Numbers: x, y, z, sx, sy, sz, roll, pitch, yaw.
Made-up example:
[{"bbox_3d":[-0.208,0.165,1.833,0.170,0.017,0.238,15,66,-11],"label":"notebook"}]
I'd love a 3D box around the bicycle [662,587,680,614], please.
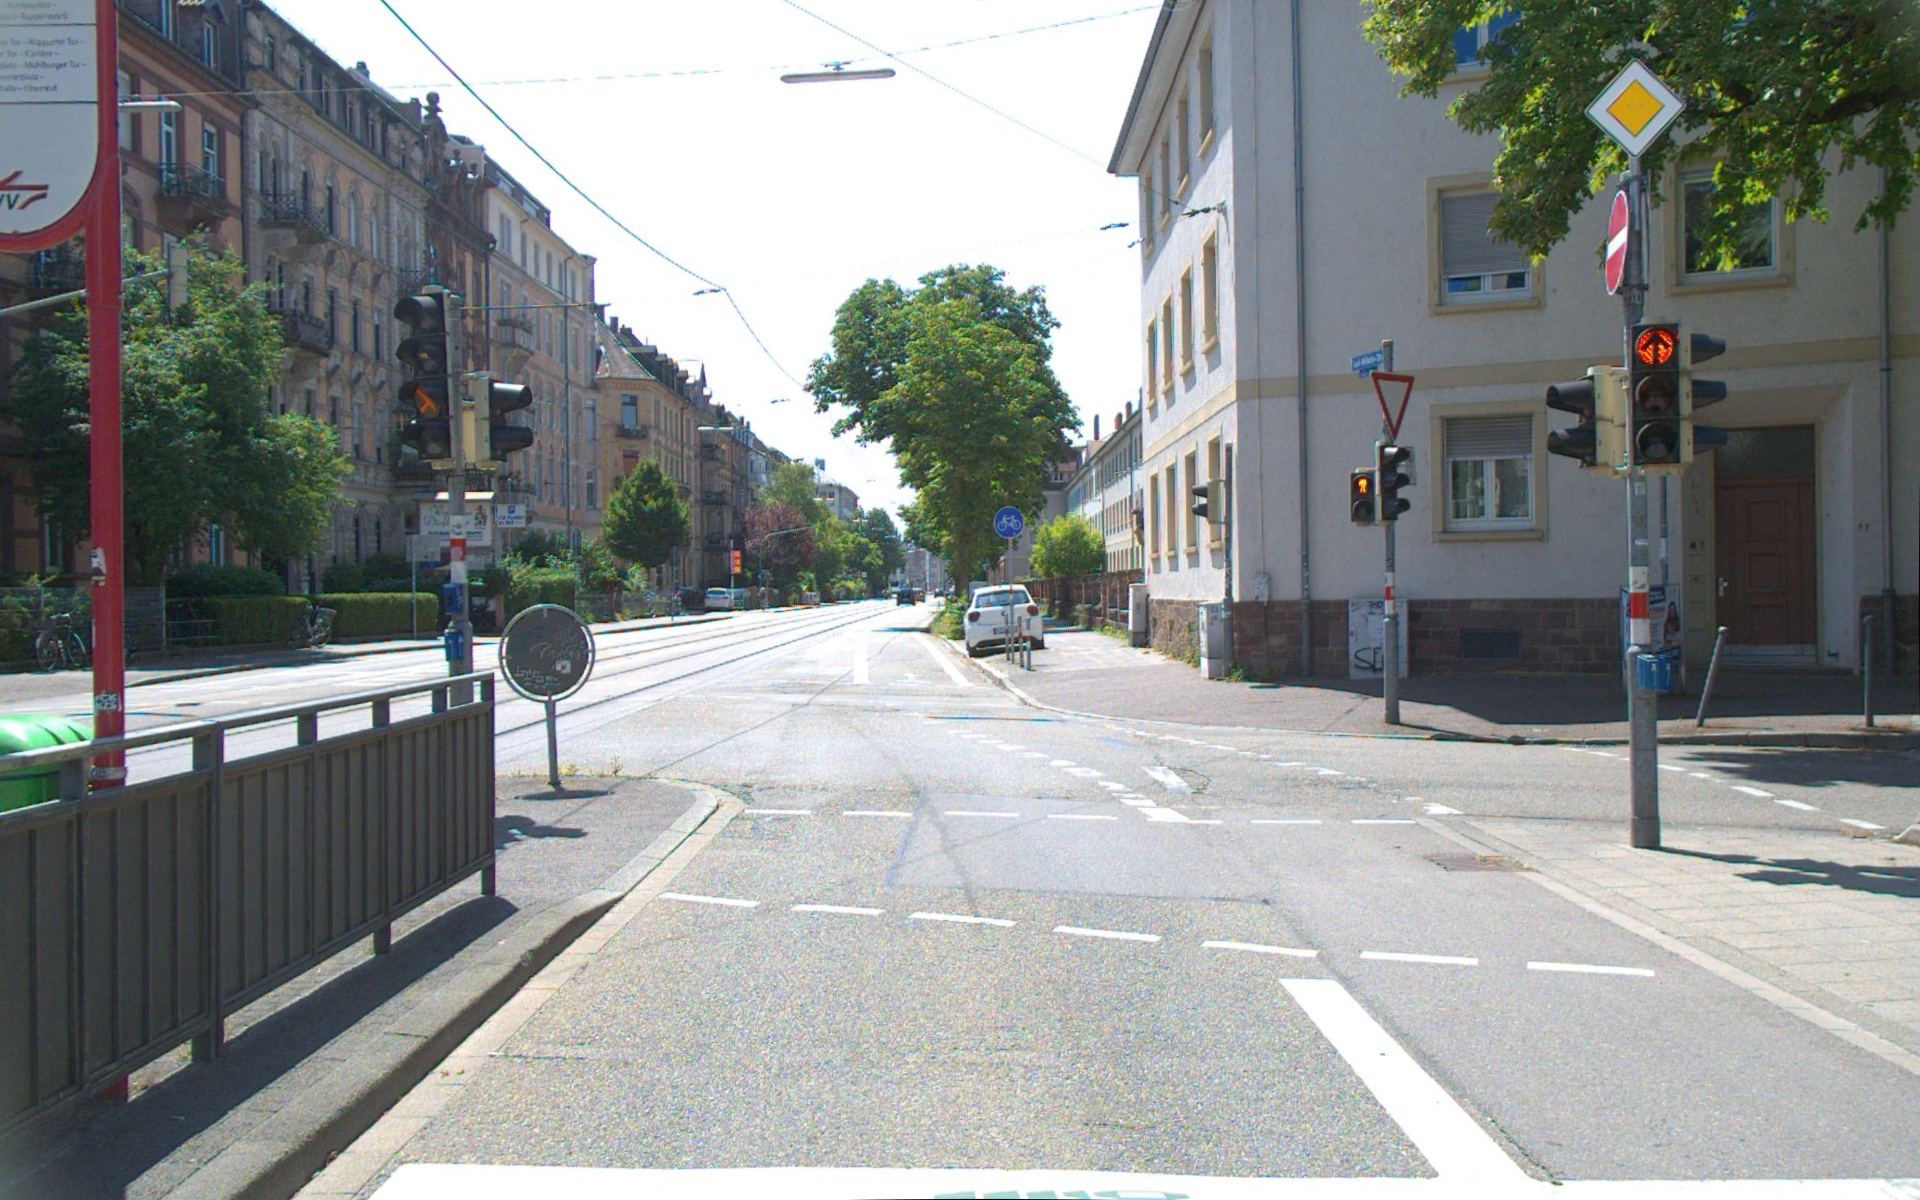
[{"bbox_3d":[-15.321,0.017,87.702,0.565,1.412,2.500,0,0,-1],"label":"bicycle"}]

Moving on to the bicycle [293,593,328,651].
[{"bbox_3d":[-15.929,0.530,40.517,0.584,1.380,2.419,0,0,-27],"label":"bicycle"}]

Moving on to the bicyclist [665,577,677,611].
[{"bbox_3d":[-15.303,-0.337,87.630,0.531,1.794,0.498,0,0,-1],"label":"bicyclist"}]

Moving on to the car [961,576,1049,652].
[{"bbox_3d":[0.954,0.305,37.194,1.712,1.498,3.937,-4,0,-1],"label":"car"}]

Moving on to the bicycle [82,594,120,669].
[{"bbox_3d":[-16.779,0.591,32.334,0.607,1.420,2.288,0,0,-27],"label":"bicycle"}]

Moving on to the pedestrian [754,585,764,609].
[{"bbox_3d":[-14.770,-0.212,121.606,0.664,1.758,0.677,0,0,-1],"label":"pedestrian"}]

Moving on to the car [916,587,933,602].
[{"bbox_3d":[-3.825,-0.555,176.415,1.712,1.498,3.937,-4,0,-1],"label":"car"}]

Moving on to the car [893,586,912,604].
[{"bbox_3d":[-5.065,-0.437,144.891,1.494,1.469,3.364,-2,0,0],"label":"car"}]

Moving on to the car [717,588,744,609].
[{"bbox_3d":[-17.176,-0.101,123.702,1.596,1.498,3.562,-4,0,-3],"label":"car"}]

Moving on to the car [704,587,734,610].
[{"bbox_3d":[-16.795,-0.102,115.343,1.651,1.498,3.936,-4,0,-3],"label":"car"}]
